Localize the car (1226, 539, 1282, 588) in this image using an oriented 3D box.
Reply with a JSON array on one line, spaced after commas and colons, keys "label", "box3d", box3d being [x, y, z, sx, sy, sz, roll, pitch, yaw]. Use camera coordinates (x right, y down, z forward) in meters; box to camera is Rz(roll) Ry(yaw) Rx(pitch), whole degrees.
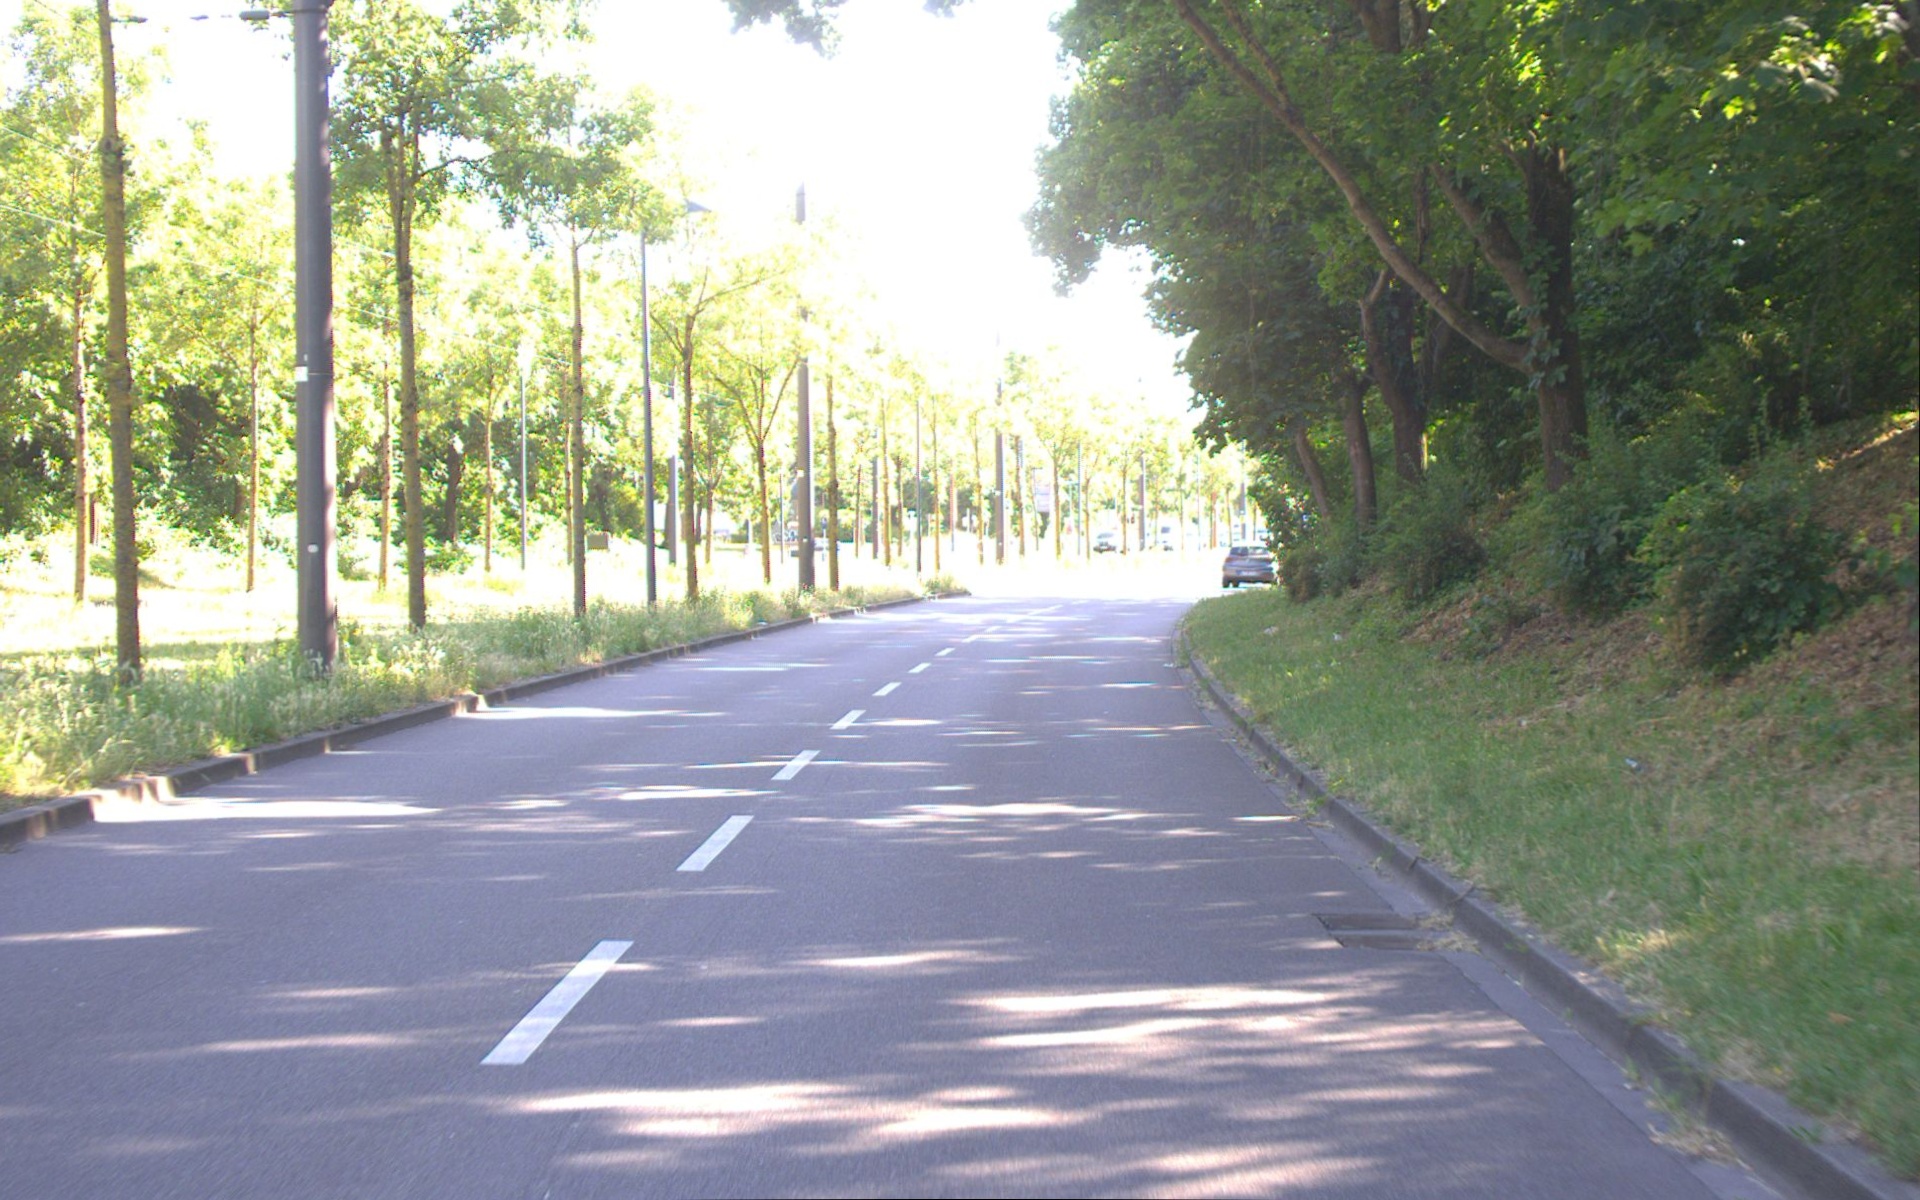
[{"label": "car", "box3d": [9.366, -1.166, 109.296, 1.634, 1.493, 4.234, 1, 1, 7]}]
